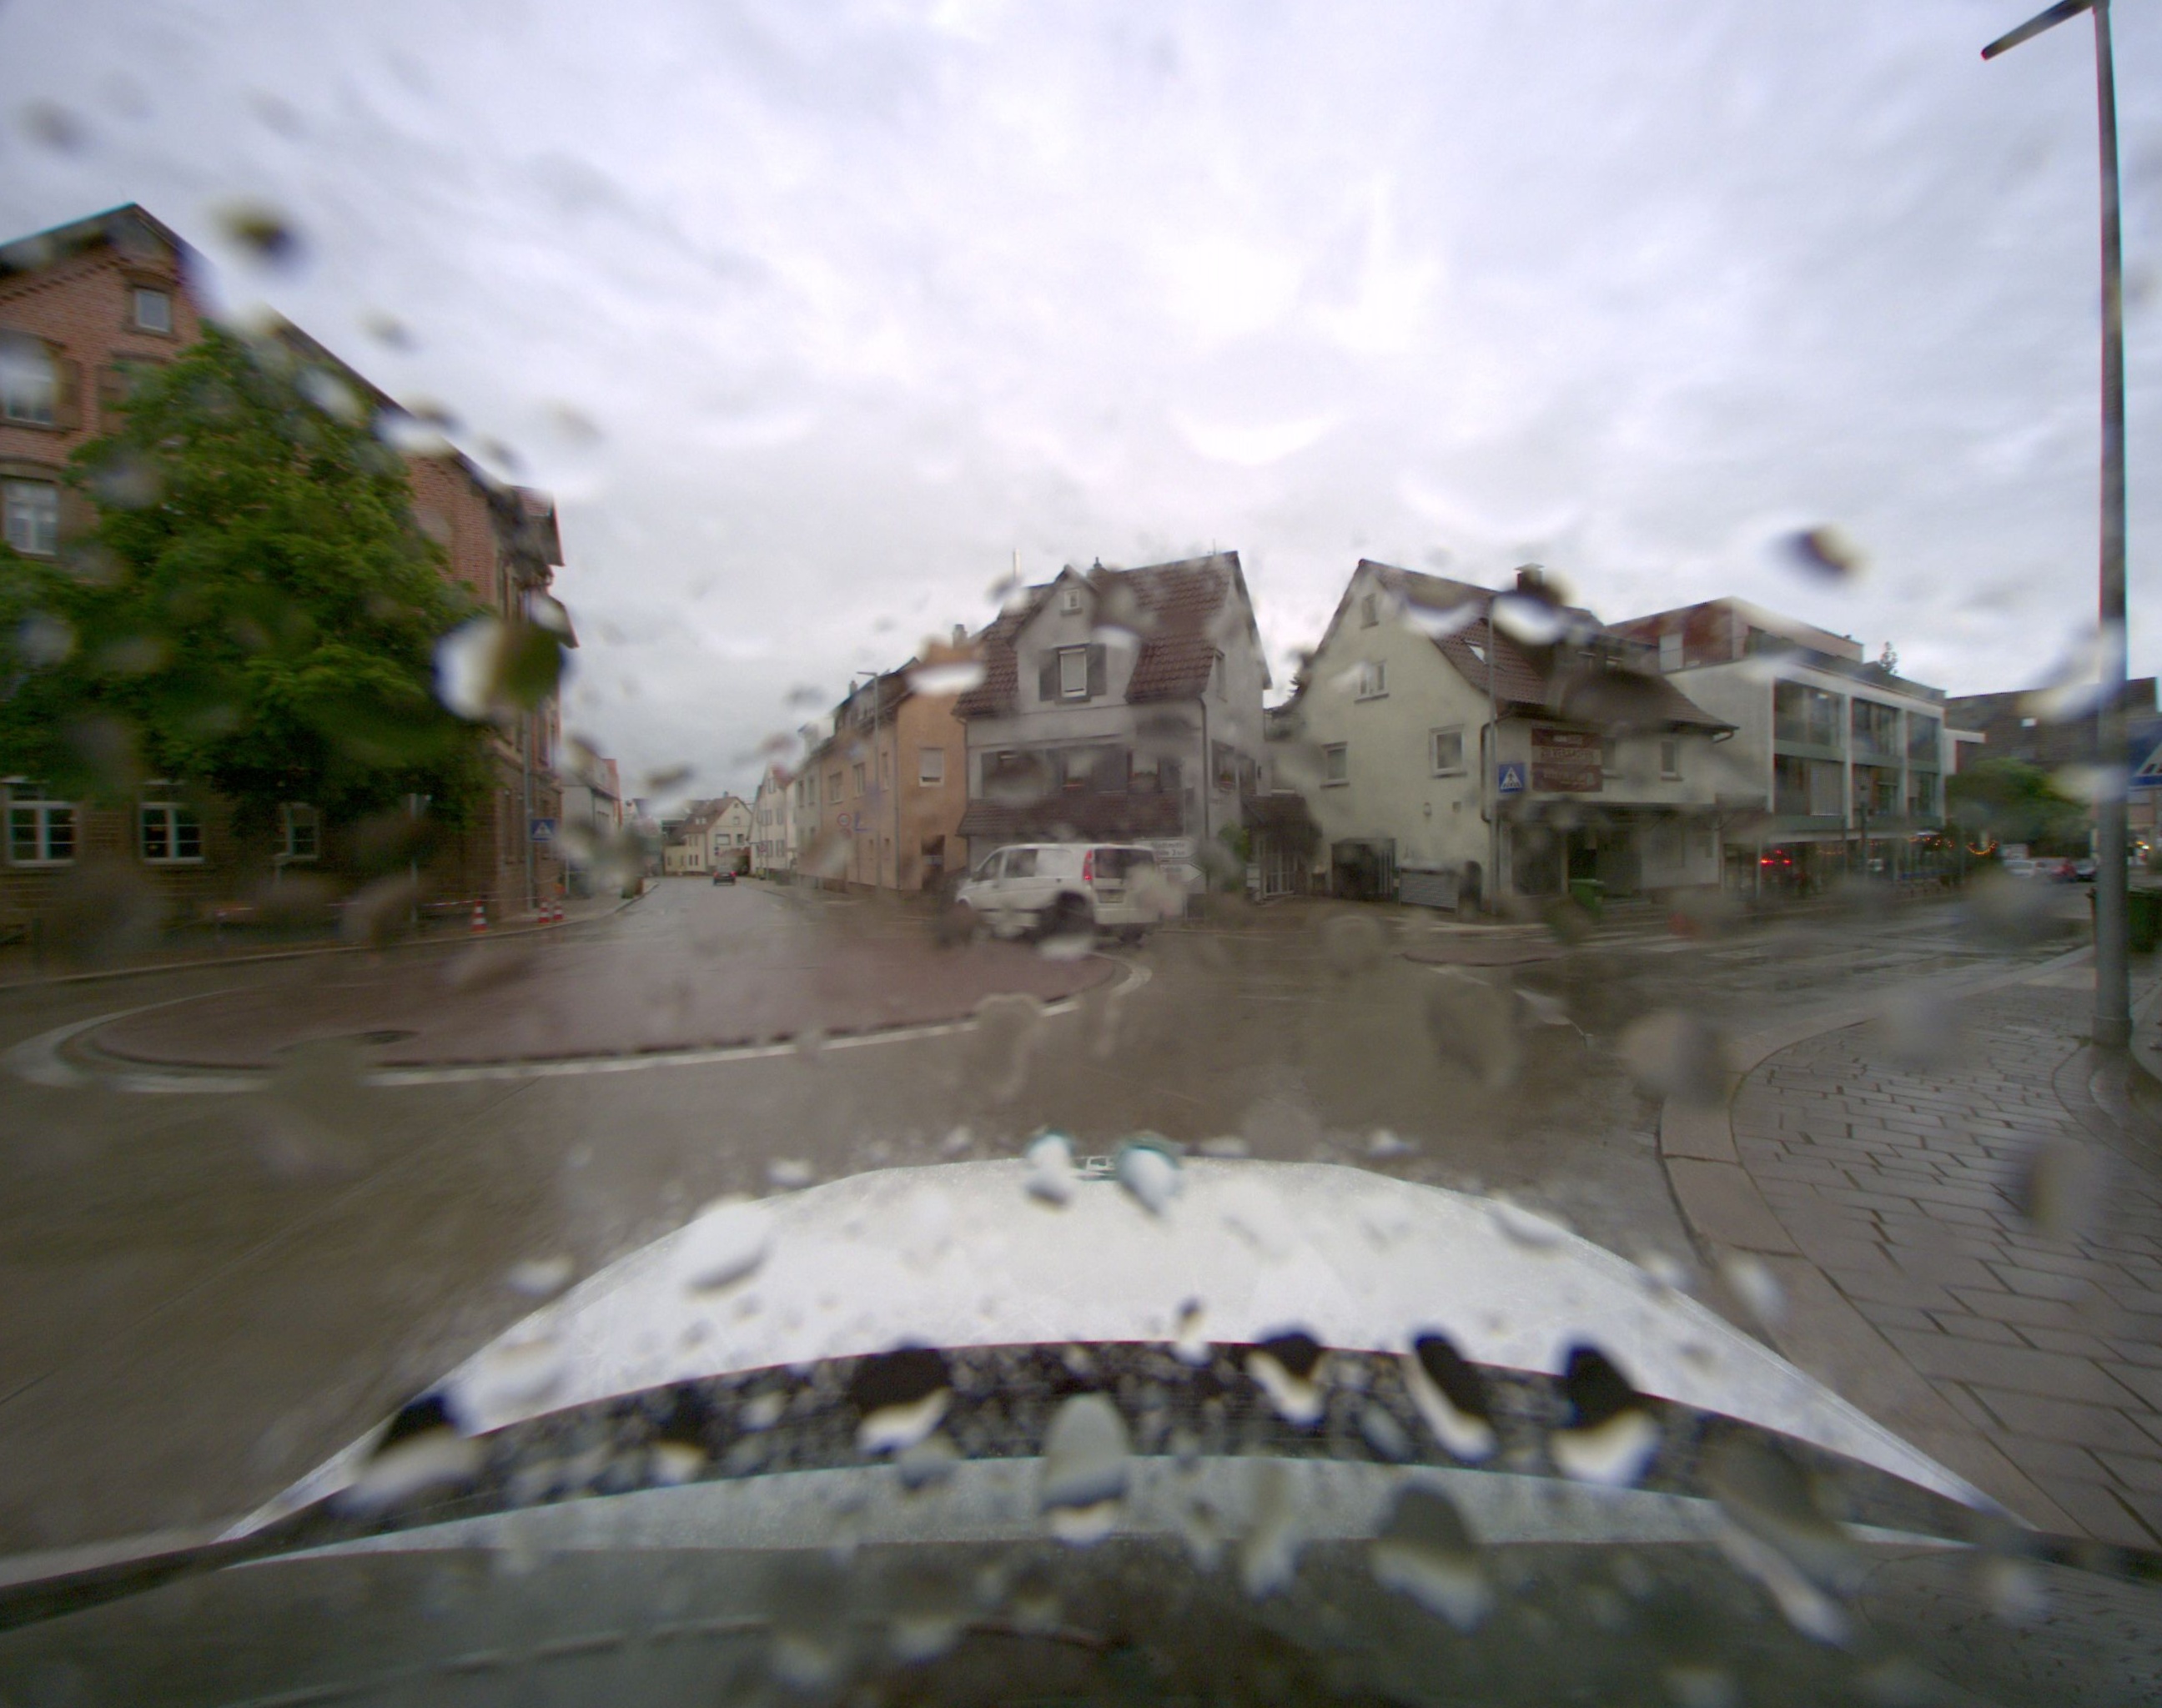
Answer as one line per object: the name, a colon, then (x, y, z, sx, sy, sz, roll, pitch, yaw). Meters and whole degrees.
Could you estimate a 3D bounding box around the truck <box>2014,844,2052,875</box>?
truck: (73.407, 0.414, 62.795, 3.207, 2.062, 1.584, -6, 1, -36)

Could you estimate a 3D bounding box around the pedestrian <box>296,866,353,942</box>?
pedestrian: (-19.253, 1.251, 20.748, 0.845, 1.886, 0.817, 1, -2, -27)

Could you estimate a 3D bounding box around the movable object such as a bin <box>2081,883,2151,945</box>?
movable object such as a bin: (19.090, 1.087, 15.025, 0.660, 1.095, 0.734, 0, -1, -33)

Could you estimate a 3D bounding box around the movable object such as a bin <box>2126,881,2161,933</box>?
movable object such as a bin: (23.229, 1.135, 17.582, 0.583, 1.095, 0.760, 0, -1, -33)

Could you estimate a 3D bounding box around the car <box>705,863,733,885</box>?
car: (-29.151, 1.619, 65.621, 1.982, 1.679, 4.035, -1, -2, -24)

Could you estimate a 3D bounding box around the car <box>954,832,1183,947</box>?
car: (-0.446, 0.652, 16.040, 2.168, 1.899, 4.872, 0, -2, -34)

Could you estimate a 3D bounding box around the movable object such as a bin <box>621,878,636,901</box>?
movable object such as a bin: (-23.273, 1.800, 41.892, 0.630, 1.173, 0.754, 1, -2, -30)

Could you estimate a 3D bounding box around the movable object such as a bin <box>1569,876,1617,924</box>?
movable object such as a bin: (12.155, 1.074, 19.353, 0.764, 1.081, 0.682, 1, 1, -34)

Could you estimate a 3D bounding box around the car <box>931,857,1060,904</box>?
car: (-2.952, 0.908, 28.358, 4.014, 1.486, 1.980, 0, -2, -32)

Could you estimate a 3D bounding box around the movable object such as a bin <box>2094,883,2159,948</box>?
movable object such as a bin: (18.602, 1.074, 14.493, 0.553, 1.095, 0.658, 0, -2, -34)

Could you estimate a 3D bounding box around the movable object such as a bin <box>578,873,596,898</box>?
movable object such as a bin: (-24.078, 1.525, 39.713, 0.753, 1.169, 0.625, 1, -2, -31)

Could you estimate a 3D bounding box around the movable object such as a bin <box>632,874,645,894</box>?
movable object such as a bin: (-25.230, 1.699, 46.439, 0.658, 1.169, 0.774, 1, -2, -30)

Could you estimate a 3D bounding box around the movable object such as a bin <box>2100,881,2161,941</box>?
movable object such as a bin: (20.196, 1.079, 15.612, 0.583, 1.095, 0.760, 0, -1, -33)

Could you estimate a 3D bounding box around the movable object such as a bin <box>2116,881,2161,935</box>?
movable object such as a bin: (22.196, 1.116, 16.938, 0.583, 1.095, 0.760, 0, -1, -33)
